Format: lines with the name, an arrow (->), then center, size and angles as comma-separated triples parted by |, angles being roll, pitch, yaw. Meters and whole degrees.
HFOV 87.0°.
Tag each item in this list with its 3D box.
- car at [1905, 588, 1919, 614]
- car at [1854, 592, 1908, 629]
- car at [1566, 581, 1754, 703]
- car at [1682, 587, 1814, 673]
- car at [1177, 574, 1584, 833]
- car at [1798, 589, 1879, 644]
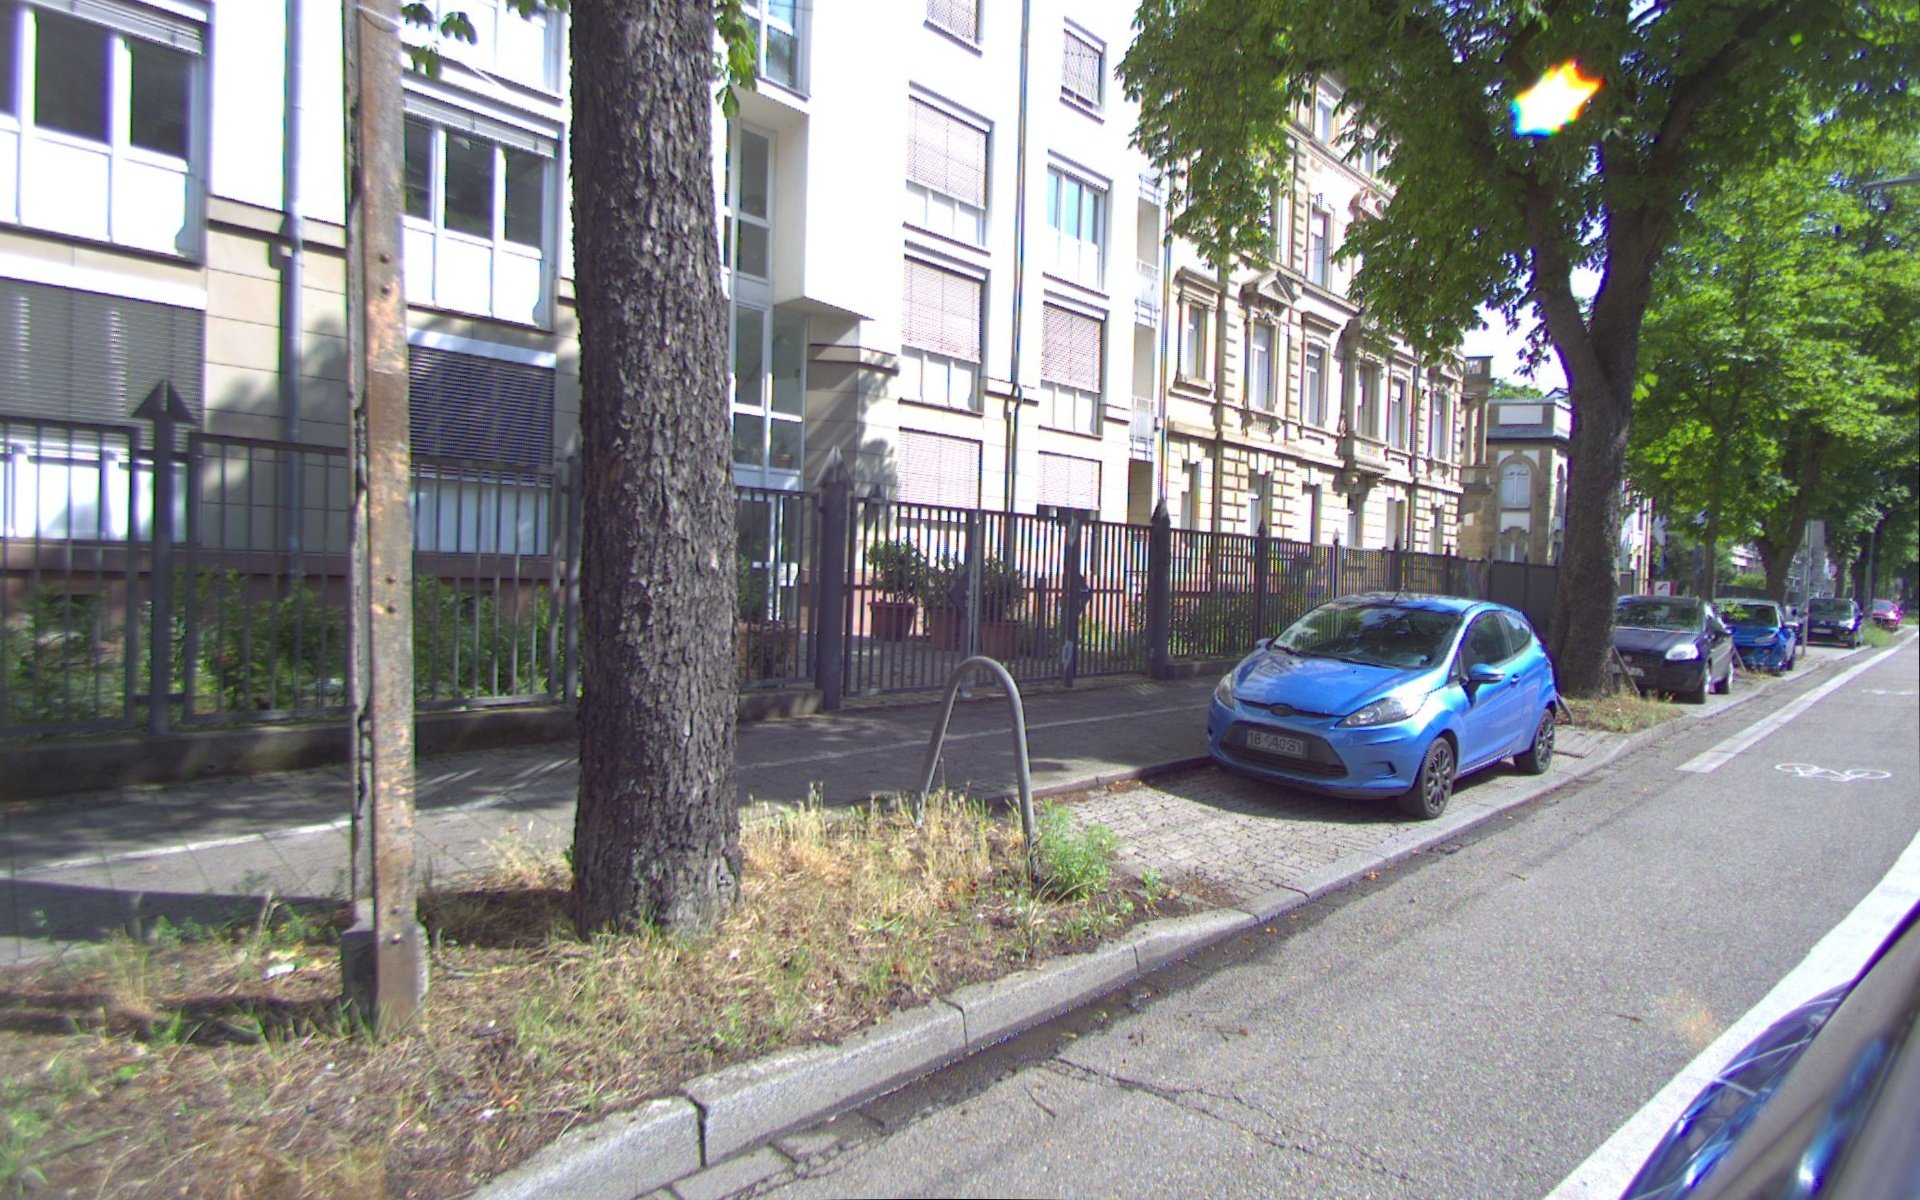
car -> 63.234, 0.089, 66.293 | 1.741, 1.592, 3.867 | 7, 5, 44
car -> 45.386, 0.476, 49.852 | 1.741, 1.592, 3.867 | 7, 5, 44
car -> 10.636, 0.542, 15.283 | 1.676, 1.493, 3.602 | 7, 5, 44
car -> 16.383, 0.555, 20.980 | 1.676, 1.493, 3.602 | 7, 5, 44
car -> 3.482, 0.624, 8.079 | 3.601, 1.493, 1.644 | 0, 5, -44
car -> 29.397, 0.514, 33.846 | 1.741, 1.592, 3.602 | 7, 5, 44
